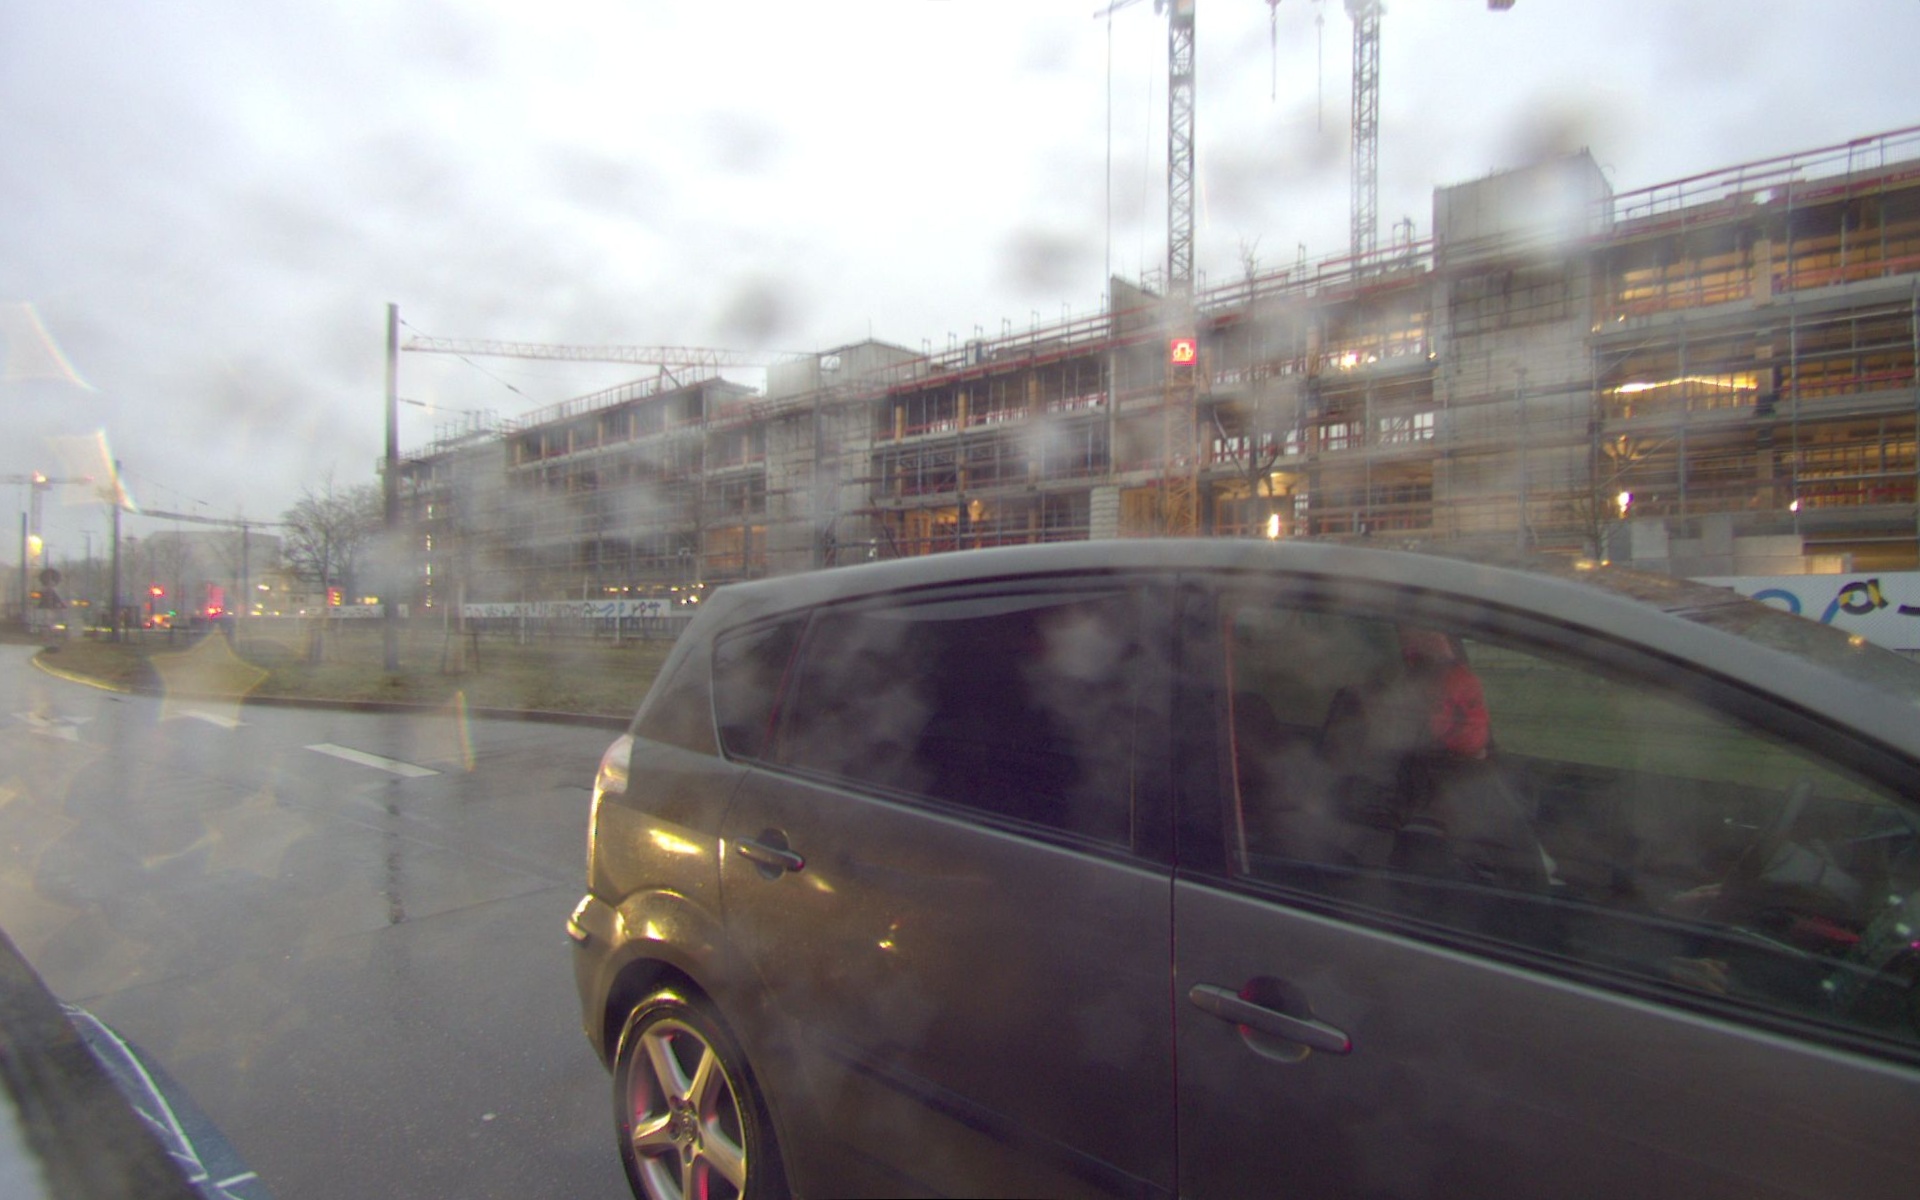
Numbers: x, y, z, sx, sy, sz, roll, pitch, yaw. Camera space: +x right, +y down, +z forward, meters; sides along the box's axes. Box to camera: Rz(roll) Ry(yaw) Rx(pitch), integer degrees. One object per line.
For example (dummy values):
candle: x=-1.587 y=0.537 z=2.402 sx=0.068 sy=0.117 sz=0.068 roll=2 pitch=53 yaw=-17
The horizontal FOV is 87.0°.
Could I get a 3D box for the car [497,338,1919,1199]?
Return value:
car: x=1.008 y=0.612 z=1.893 sx=4.131 sy=1.659 sz=1.793 roll=-1 pitch=-1 yaw=39
